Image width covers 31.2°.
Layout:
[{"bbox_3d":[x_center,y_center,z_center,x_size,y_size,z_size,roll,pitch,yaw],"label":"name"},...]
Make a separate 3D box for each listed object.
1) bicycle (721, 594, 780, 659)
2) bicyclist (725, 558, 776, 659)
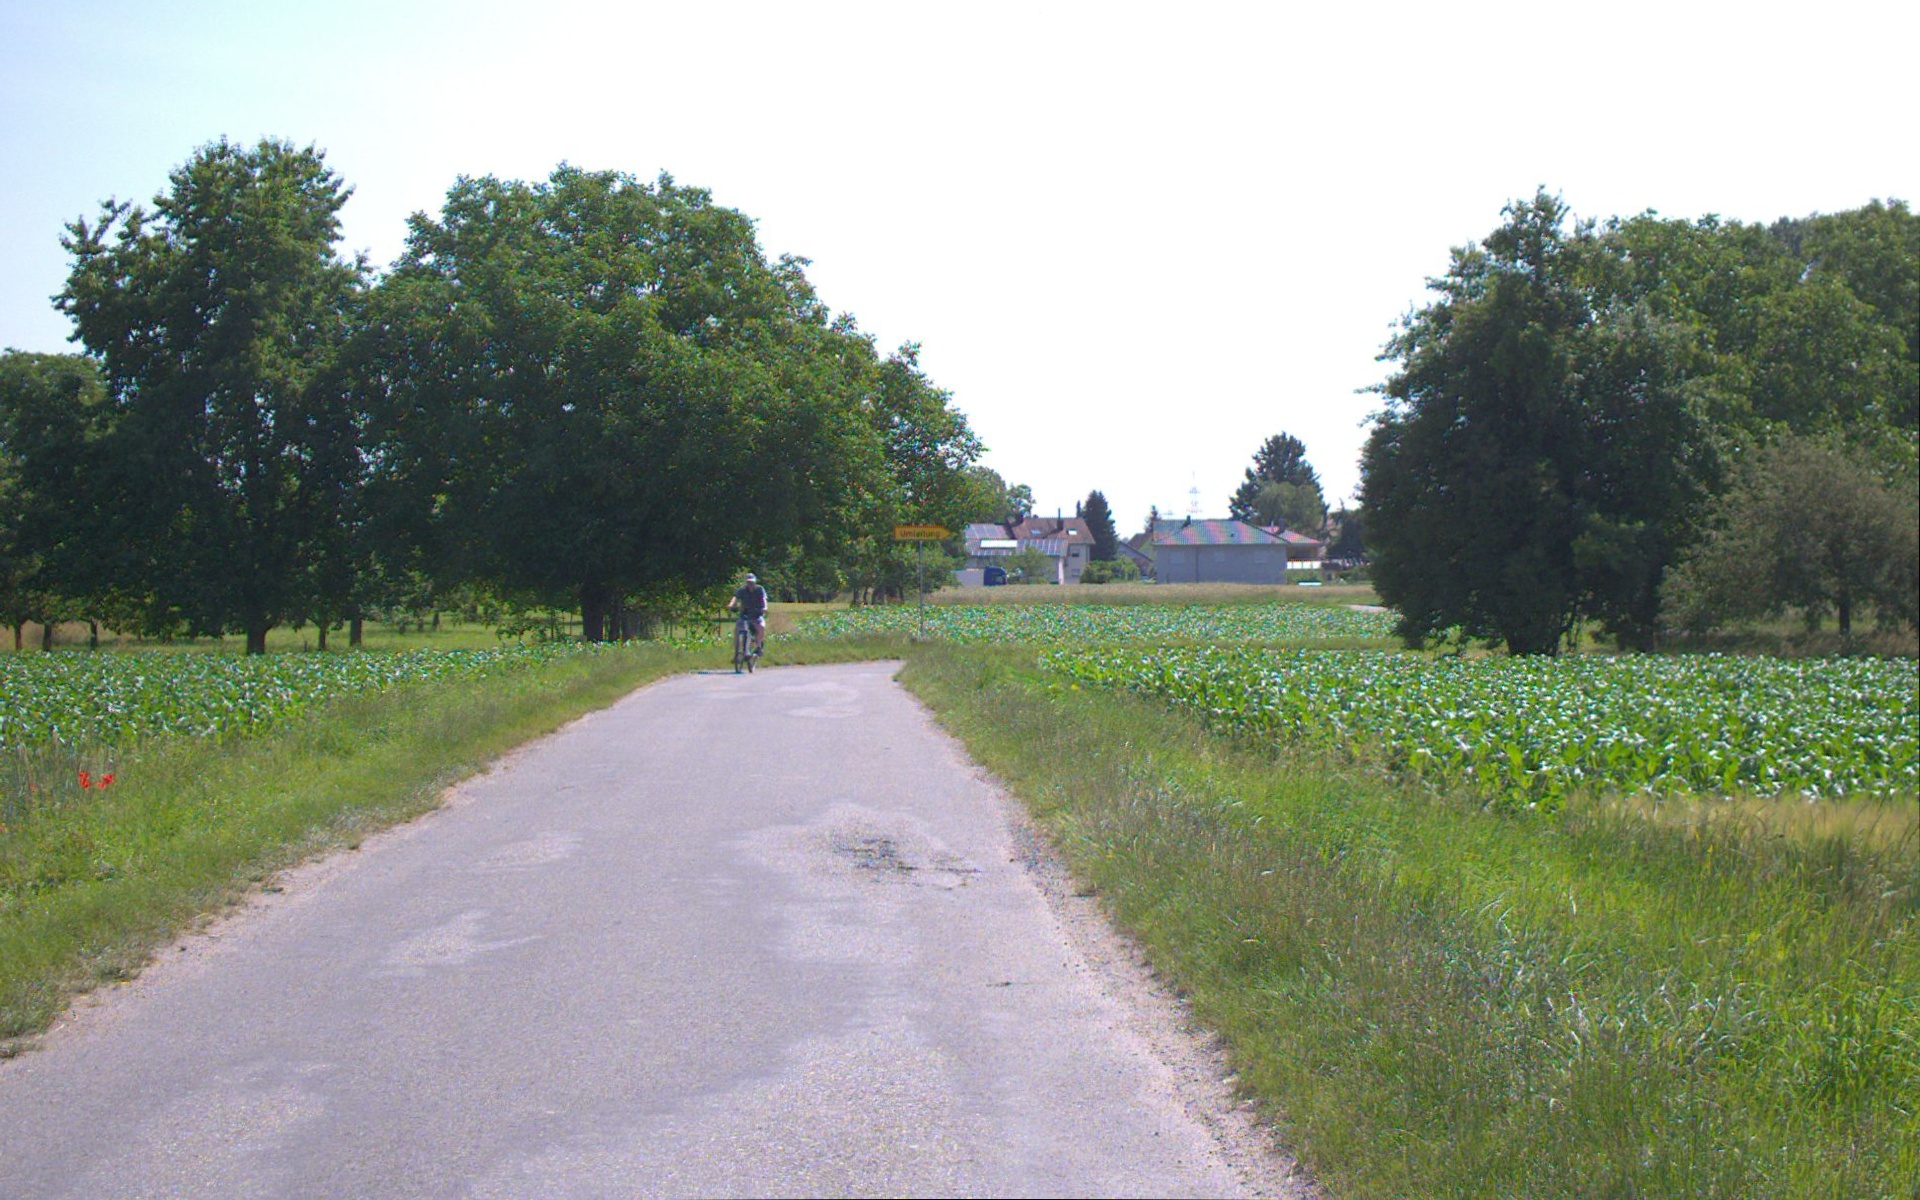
[{"bbox_3d":[-3.762,0.468,61.890,0.750,1.123,1.908,-2,0,5],"label":"bicycle"},{"bbox_3d":[-3.768,0.145,61.893,0.750,1.785,0.717,-2,0,5],"label":"bicyclist"}]
